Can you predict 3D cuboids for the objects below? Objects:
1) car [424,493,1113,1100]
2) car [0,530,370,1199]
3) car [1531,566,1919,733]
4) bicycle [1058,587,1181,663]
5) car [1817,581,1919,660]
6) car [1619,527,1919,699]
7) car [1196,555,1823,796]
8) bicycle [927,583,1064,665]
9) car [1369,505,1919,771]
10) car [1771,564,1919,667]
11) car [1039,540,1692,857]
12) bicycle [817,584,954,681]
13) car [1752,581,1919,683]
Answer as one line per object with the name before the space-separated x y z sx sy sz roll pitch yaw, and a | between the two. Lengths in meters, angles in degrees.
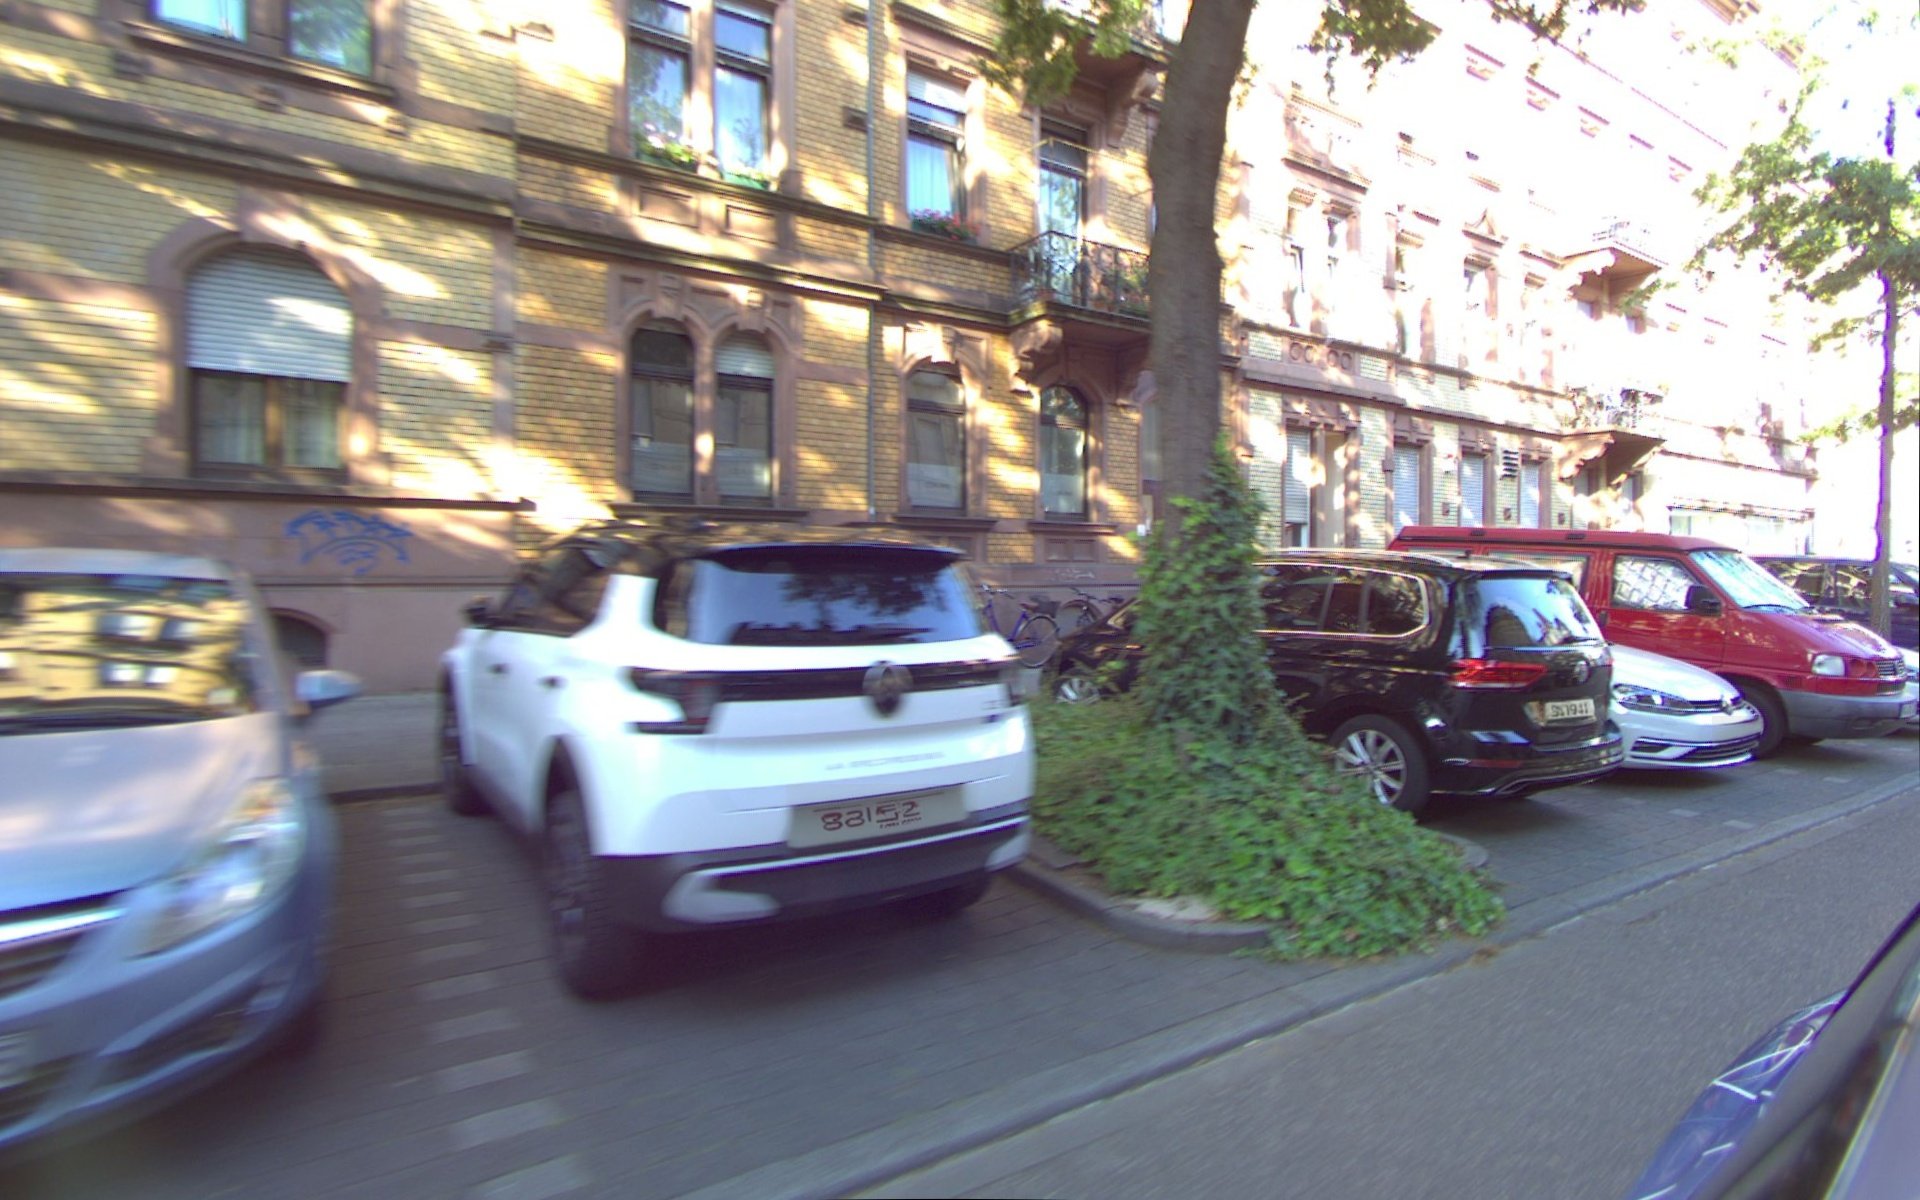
car | -1.320 0.420 4.891 1.771 1.647 4.025 -1 3 -35
car | -3.215 0.509 3.522 1.760 1.451 4.027 -1 4 -34
car | 9.154 0.427 11.663 1.843 1.528 4.070 -1 3 -34
bicycle | 2.196 0.316 13.826 1.831 0.974 0.406 0 4 -34
car | 19.096 0.434 18.565 1.814 1.430 4.807 -1 3 -31
car | 12.755 0.143 14.660 1.954 2.242 5.040 -1 1 -33
car | 4.520 0.402 9.201 1.842 1.532 4.696 -1 3 -32
bicycle | 0.474 0.279 12.935 1.831 0.974 0.406 0 4 -34
car | 6.821 0.165 10.285 1.842 2.058 4.694 -1 3 -33
car | 17.102 0.277 17.295 1.813 1.699 4.713 0 3 -24
car | 2.605 0.403 7.527 1.802 1.647 4.203 -1 3 -33
bicycle | -0.814 0.327 11.550 0.404 0.974 1.842 4 4 38
car | 15.247 0.478 15.874 1.691 1.554 4.121 -1 1 -33
